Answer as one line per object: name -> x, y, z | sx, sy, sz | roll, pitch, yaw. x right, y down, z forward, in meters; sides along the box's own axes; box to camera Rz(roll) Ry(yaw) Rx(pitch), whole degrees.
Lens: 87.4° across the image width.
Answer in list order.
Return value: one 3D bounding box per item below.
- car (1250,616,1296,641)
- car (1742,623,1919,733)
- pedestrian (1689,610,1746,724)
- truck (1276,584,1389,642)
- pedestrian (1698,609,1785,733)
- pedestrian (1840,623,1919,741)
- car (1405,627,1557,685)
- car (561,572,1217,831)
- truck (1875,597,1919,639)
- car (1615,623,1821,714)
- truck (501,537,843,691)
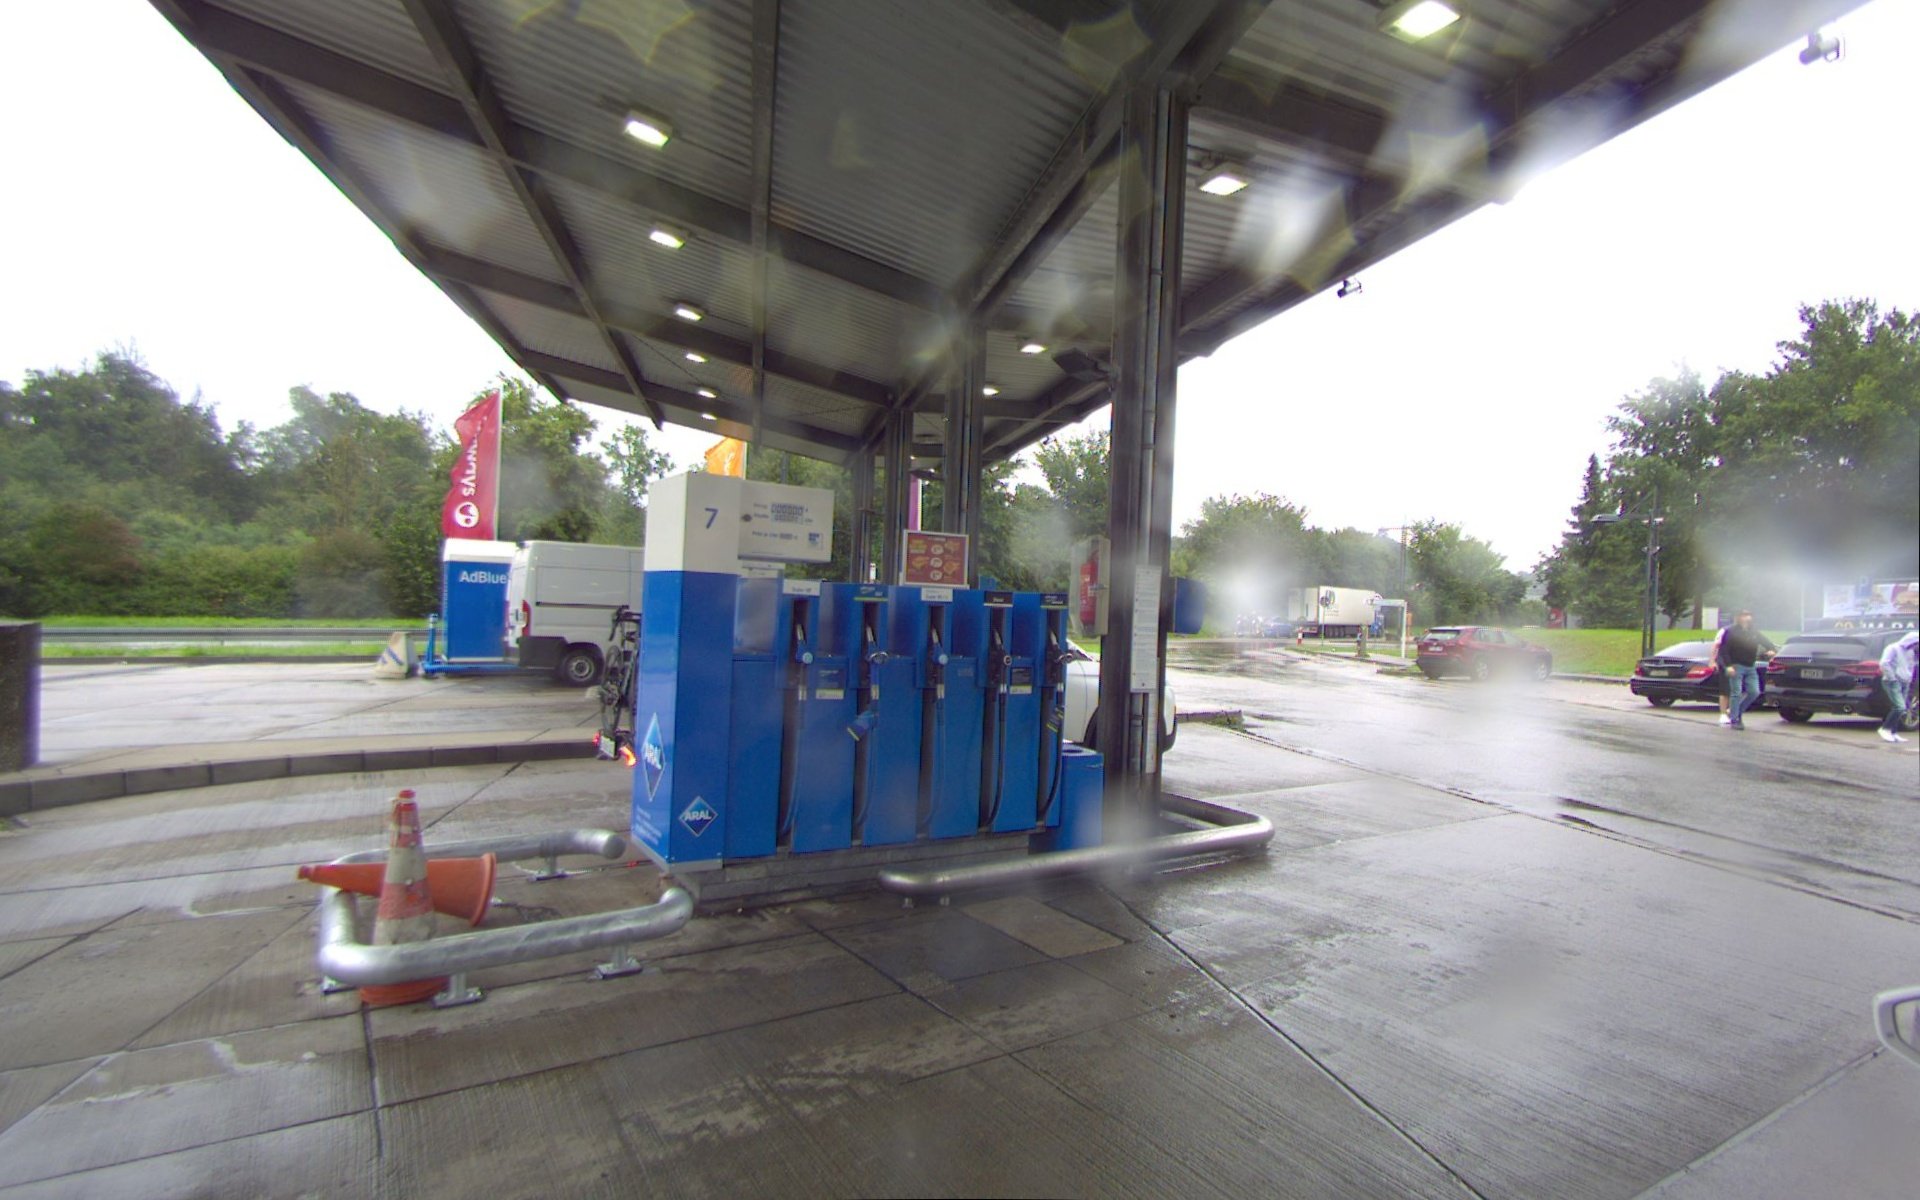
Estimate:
car -> 22.899, 2.066, 73.427 | 1.787, 1.704, 3.934 | 2, 0, 40
car -> 16.169, 1.274, 17.458 | 4.274, 1.734, 2.016 | 1, -1, -18
pedestrian -> 13.246, 1.150, 17.589 | 0.692, 1.912, 0.951 | 2, 0, 33
truck -> 31.874, 1.190, 85.142 | 3.498, 4.397, 16.922 | 2, 0, 40
pedestrian -> 12.592, 1.119, 16.204 | 0.690, 1.912, 0.894 | 2, 0, 5
pedestrian -> 13.817, 1.191, 14.859 | 0.691, 1.653, 0.953 | 2, 0, -5
car -> 16.073, 1.673, 30.992 | 4.283, 1.666, 1.933 | 1, -2, -25
car -> -0.428, 0.704, 8.448 | 5.210, 1.629, 1.852 | 2, 0, -30
truck -> 68.850, 1.325, 71.692 | 5.285, 2.959, 2.191 | 2, 0, -5
car -> 15.939, 1.360, 21.080 | 4.293, 1.734, 2.007 | 1, -2, -31
truck -> -5.341, 0.297, 18.929 | 5.793, 2.527, 2.221 | 2, 0, -30
